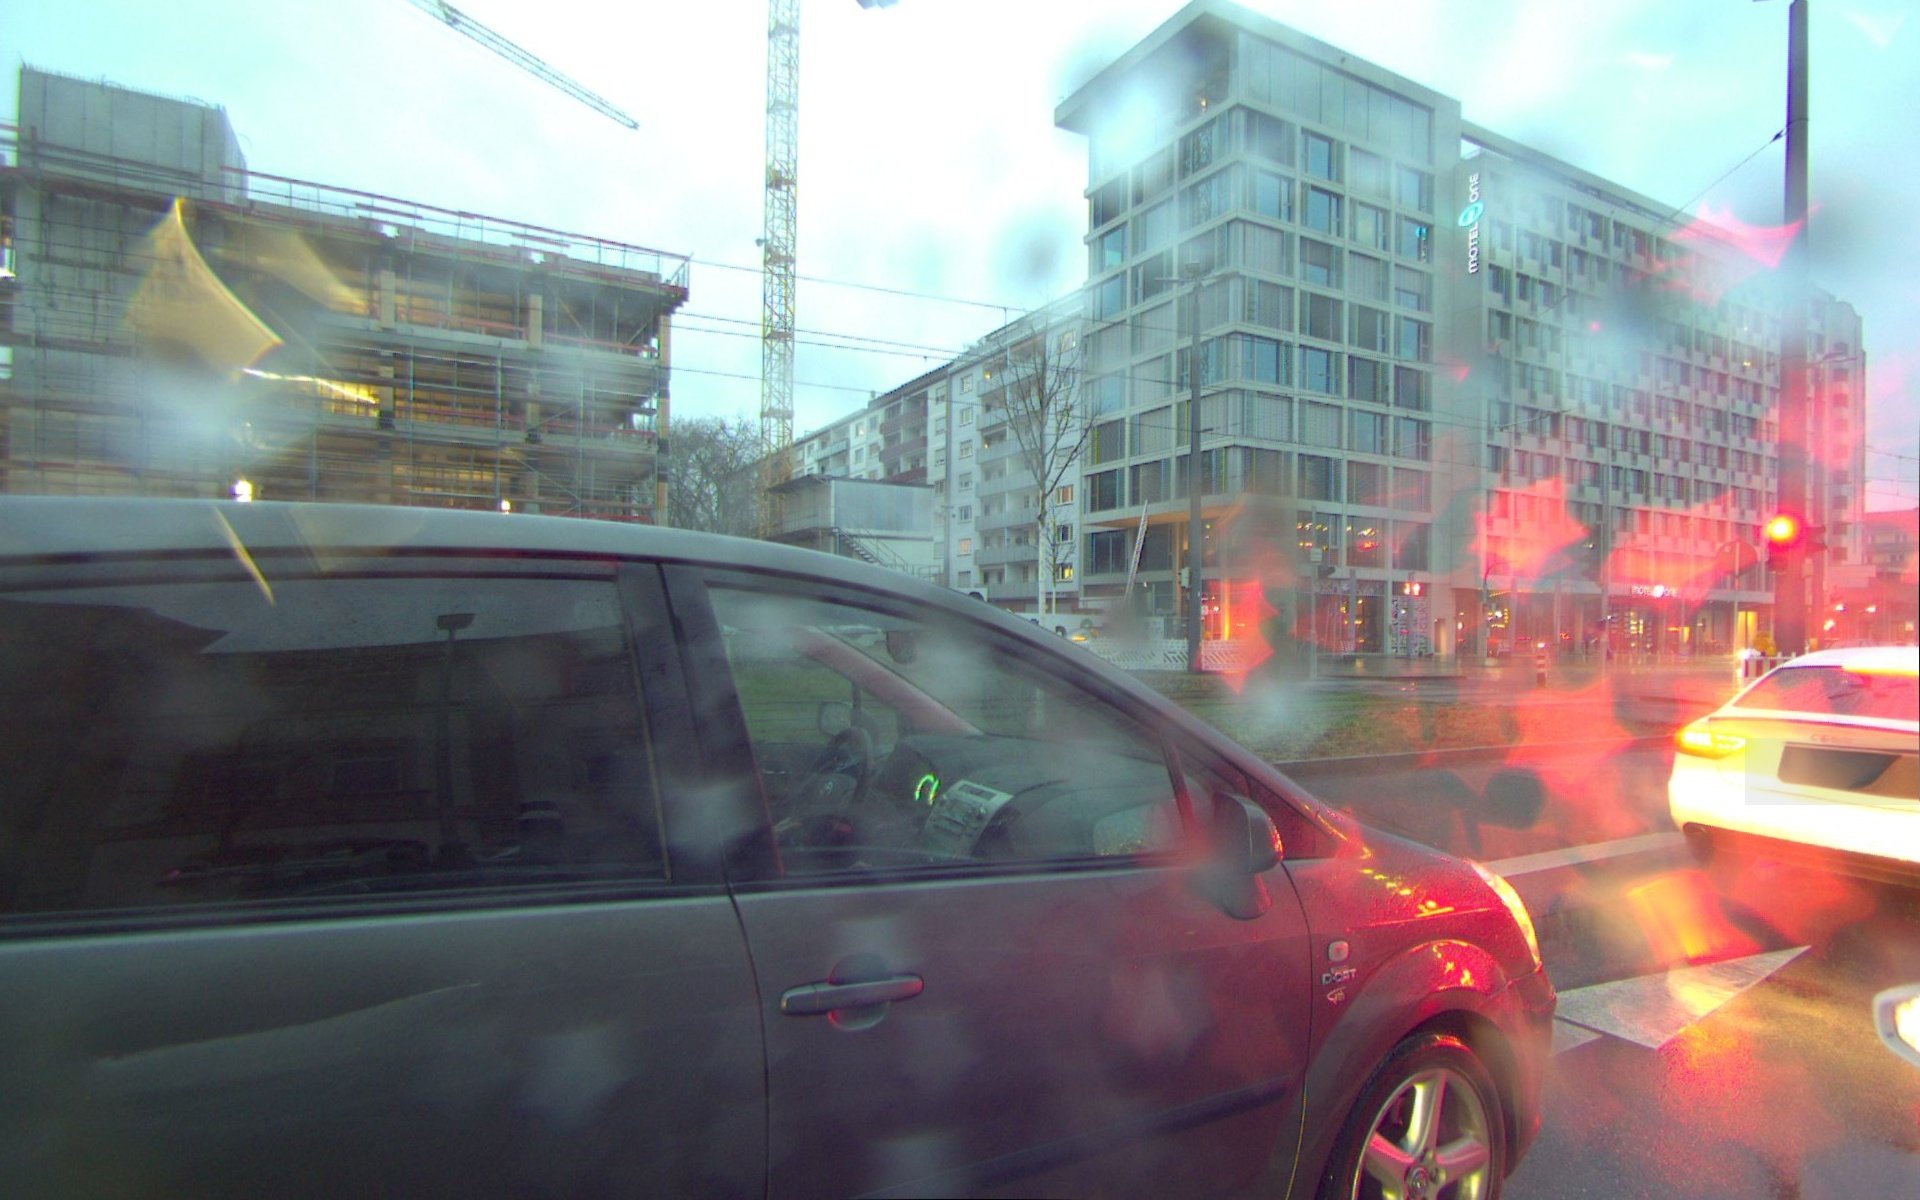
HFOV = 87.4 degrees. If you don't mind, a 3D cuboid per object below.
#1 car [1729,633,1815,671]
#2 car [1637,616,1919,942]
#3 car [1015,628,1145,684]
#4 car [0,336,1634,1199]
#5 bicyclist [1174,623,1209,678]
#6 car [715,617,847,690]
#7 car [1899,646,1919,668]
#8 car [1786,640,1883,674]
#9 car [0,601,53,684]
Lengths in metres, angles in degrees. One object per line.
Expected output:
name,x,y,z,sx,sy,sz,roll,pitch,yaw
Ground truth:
car,41.822,2.677,51.720,4.543,1.813,1.873,2,0,-29
car,6.091,0.903,6.091,4.205,1.489,1.750,2,0,-32
car,4.046,1.893,34.315,4.009,1.709,1.956,2,0,-8
car,-0.490,0.595,2.145,3.956,1.615,1.750,2,0,-32
bicyclist,12.551,2.736,54.483,1.176,2.865,1.344,2,0,-24
car,-5.779,1.697,32.297,4.014,2.151,1.954,2,0,-14
car,68.689,4.076,71.133,5.039,1.481,1.982,2,0,-32
car,41.970,2.736,48.182,5.035,1.481,1.984,2,0,-30
car,-22.062,0.853,21.104,4.032,1.709,1.945,2,0,-28
